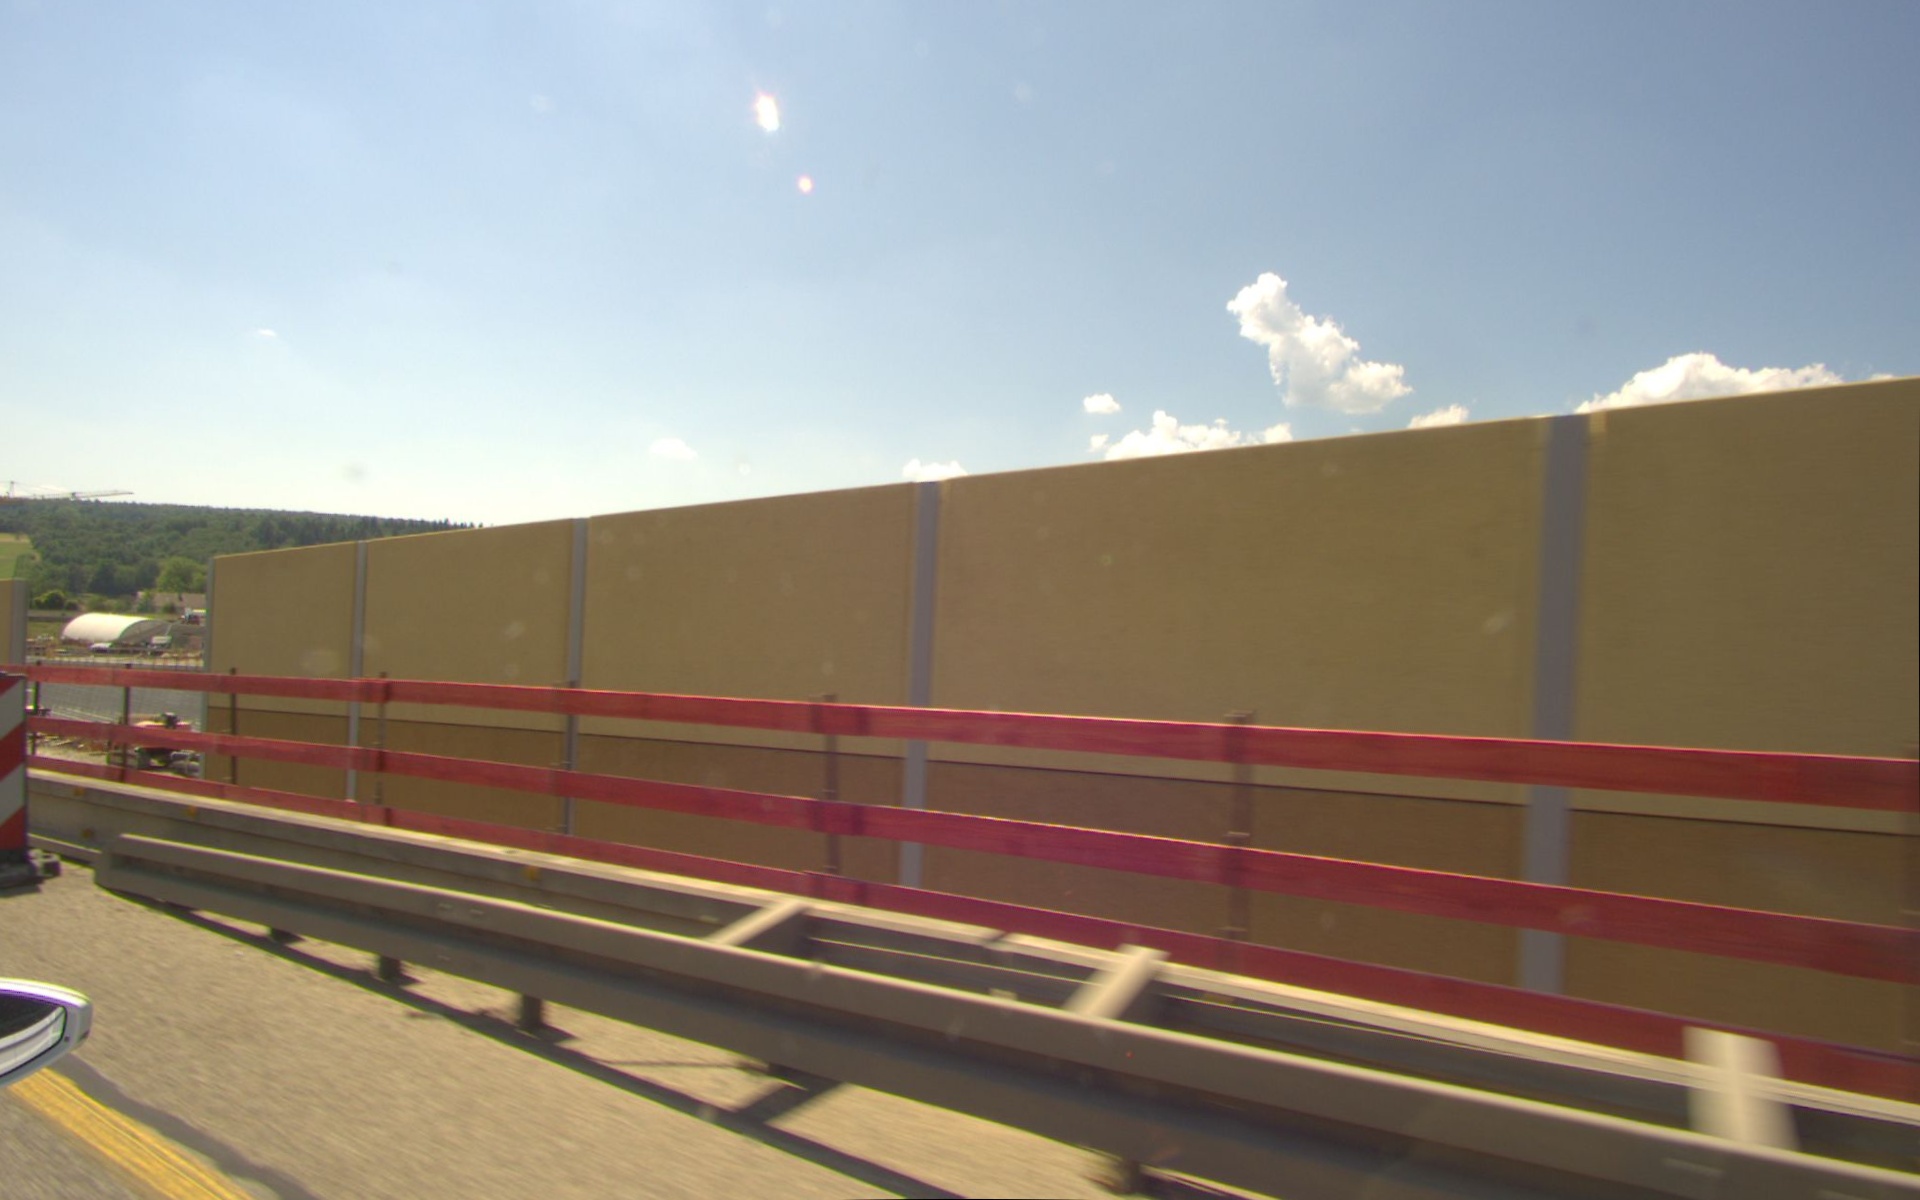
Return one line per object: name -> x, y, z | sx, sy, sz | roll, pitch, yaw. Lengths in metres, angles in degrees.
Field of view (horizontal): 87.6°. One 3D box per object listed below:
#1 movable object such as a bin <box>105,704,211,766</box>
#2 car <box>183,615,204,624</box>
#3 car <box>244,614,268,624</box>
movable object such as a bin -> -38.324, 6.393, 47.853 | 4.390, 2.520, 2.605 | -1, -3, 32
car -> -112.422, 2.830, 146.846 | 3.383, 1.332, 1.511 | -1, -2, 34
car -> -107.322, 2.868, 152.659 | 4.019, 1.537, 1.677 | -1, -2, 34
